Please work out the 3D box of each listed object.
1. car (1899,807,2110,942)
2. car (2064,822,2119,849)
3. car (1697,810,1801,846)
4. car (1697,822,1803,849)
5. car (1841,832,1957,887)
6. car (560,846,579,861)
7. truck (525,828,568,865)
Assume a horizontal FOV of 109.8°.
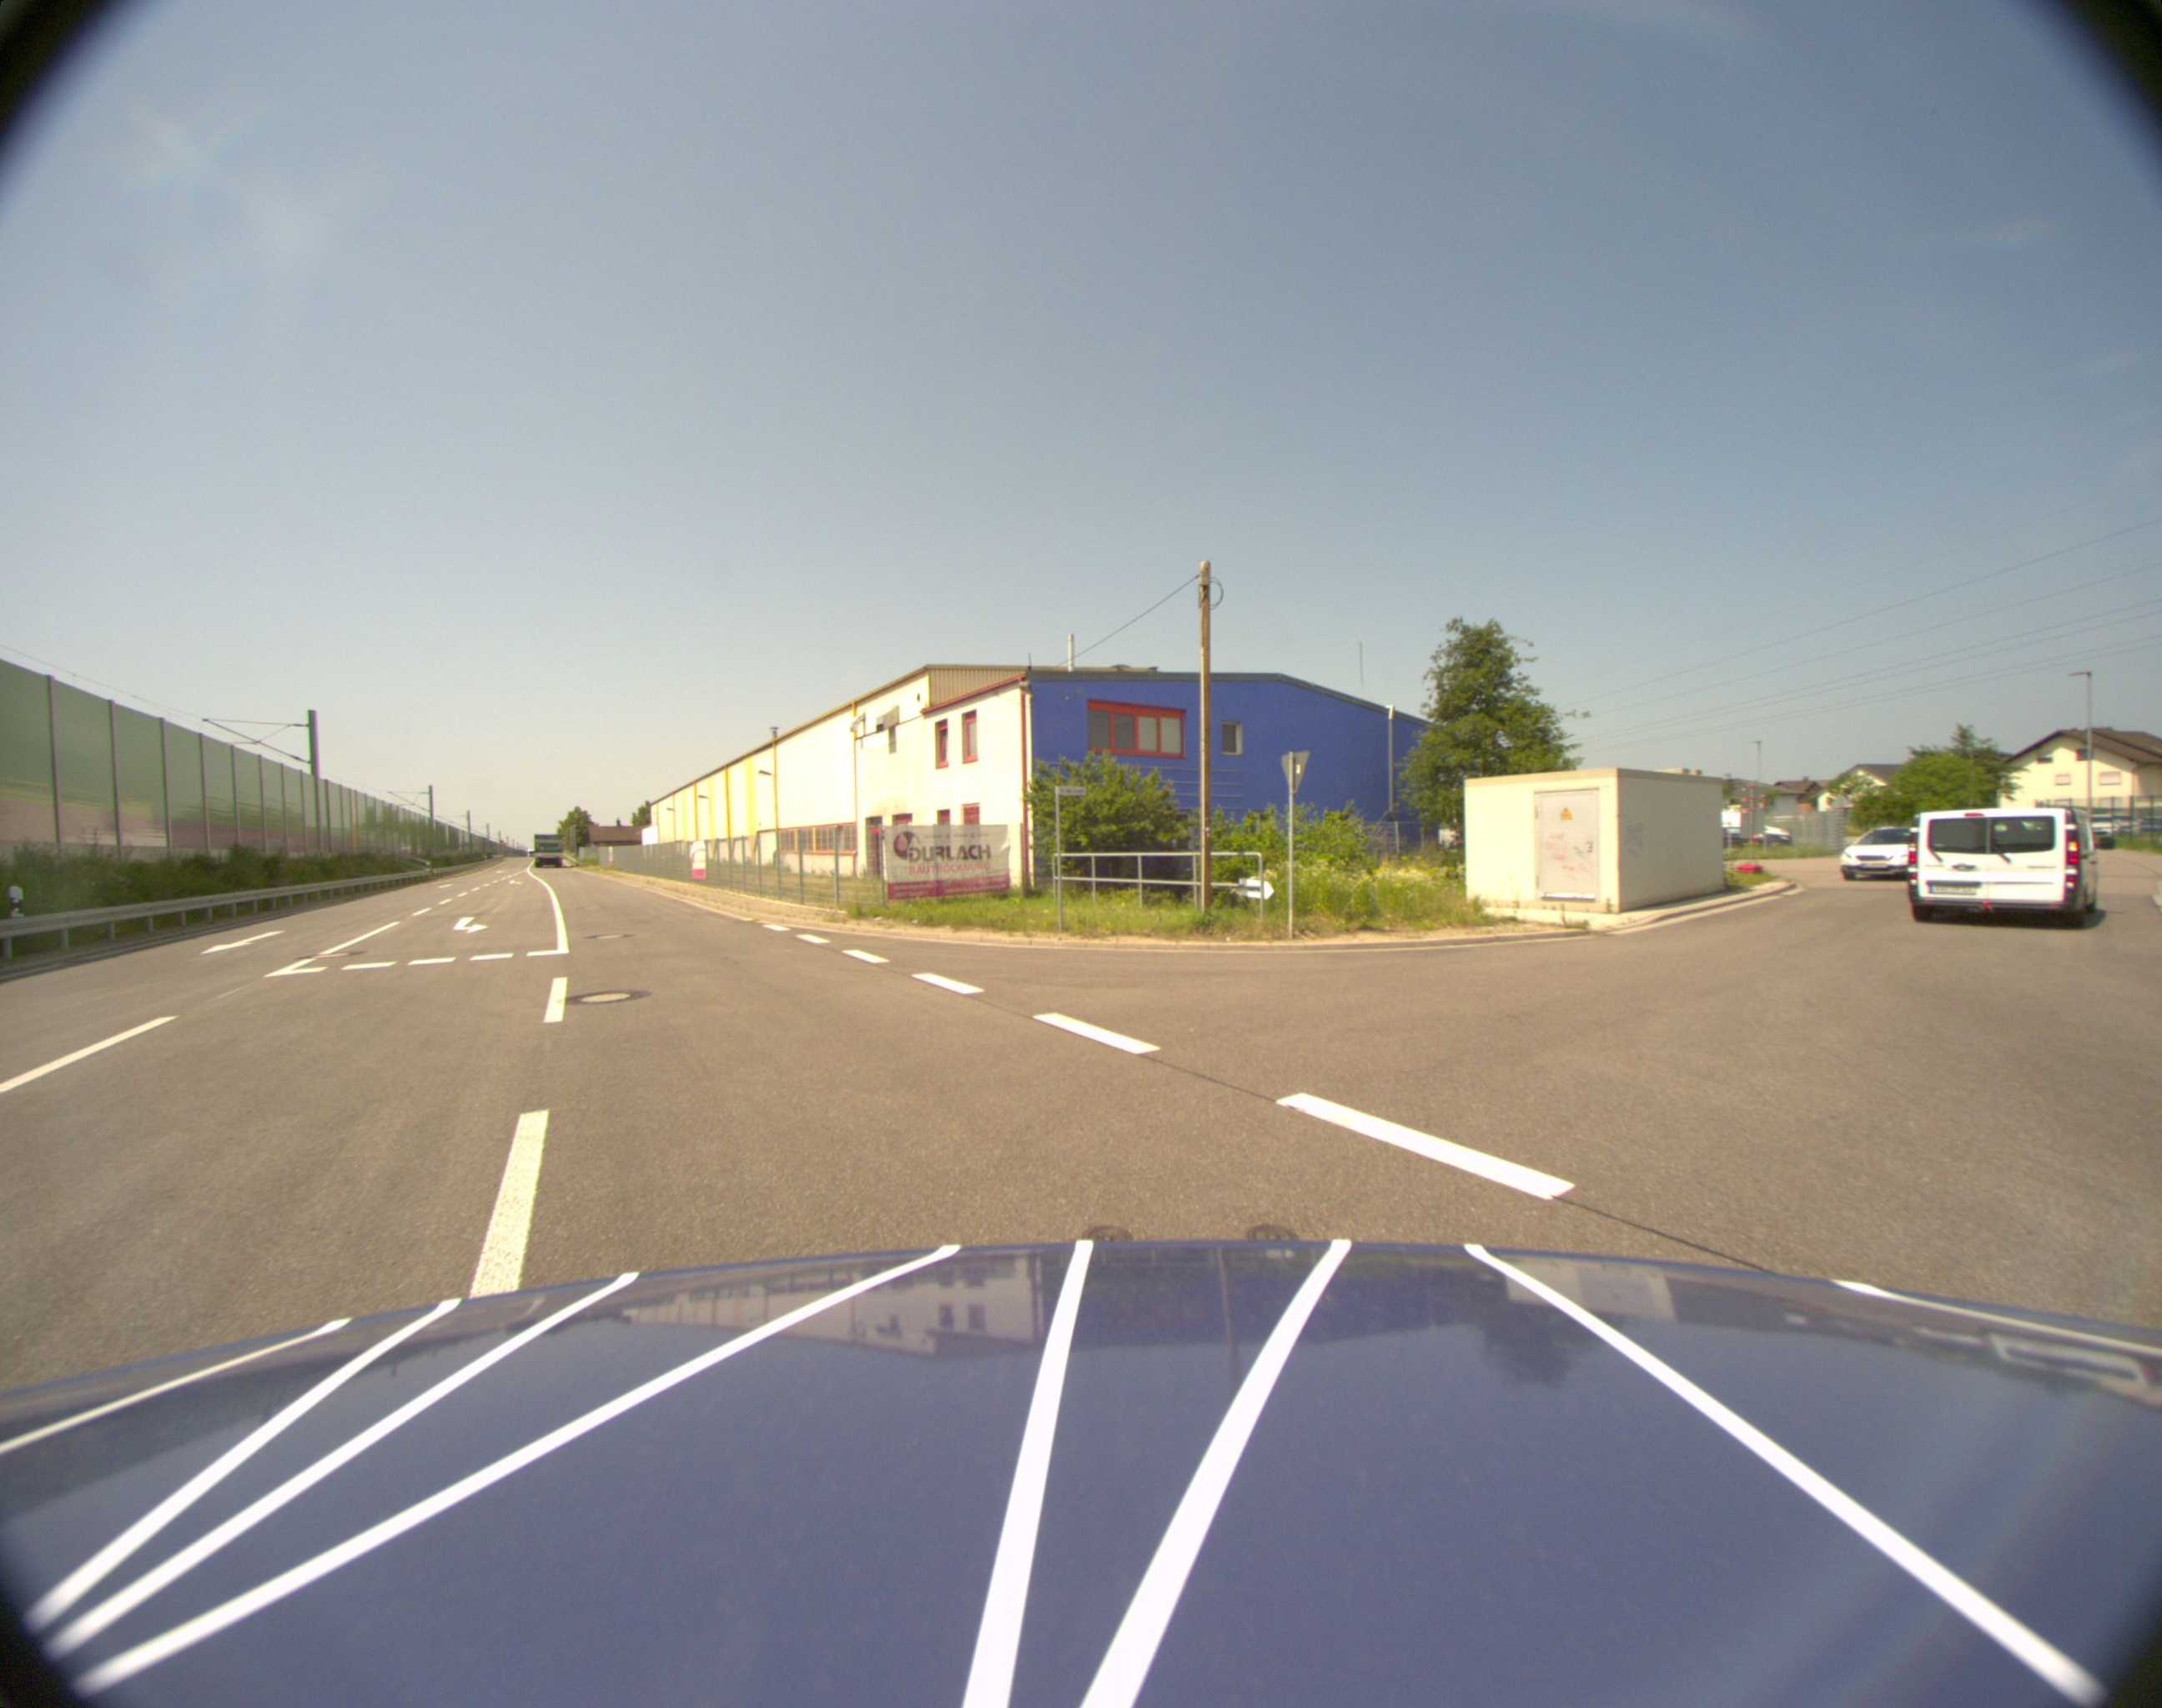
[{"bbox_3d":[16.753,0.229,13.720,4.821,2.049,2.003,-2,2,-35],"label":"car"},{"bbox_3d":[60.307,-1.115,45.323,4.169,1.494,1.770,-2,1,-35],"label":"car"},{"bbox_3d":[40.795,-1.535,46.572,4.640,2.002,2.004,-1,1,37],"label":"car"},{"bbox_3d":[38.962,-1.046,44.369,4.563,1.419,2.004,-1,0,42],"label":"car"},{"bbox_3d":[24.576,0.121,22.789,4.169,1.494,1.770,-2,1,-35],"label":"car"},{"bbox_3d":[-68.947,-0.086,102.409,2.003,2.002,3.990,-1,0,-34],"label":"car"},{"bbox_3d":[-60.487,-0.797,86.182,3.572,3.855,11.385,-1,0,-34],"label":"truck"}]
